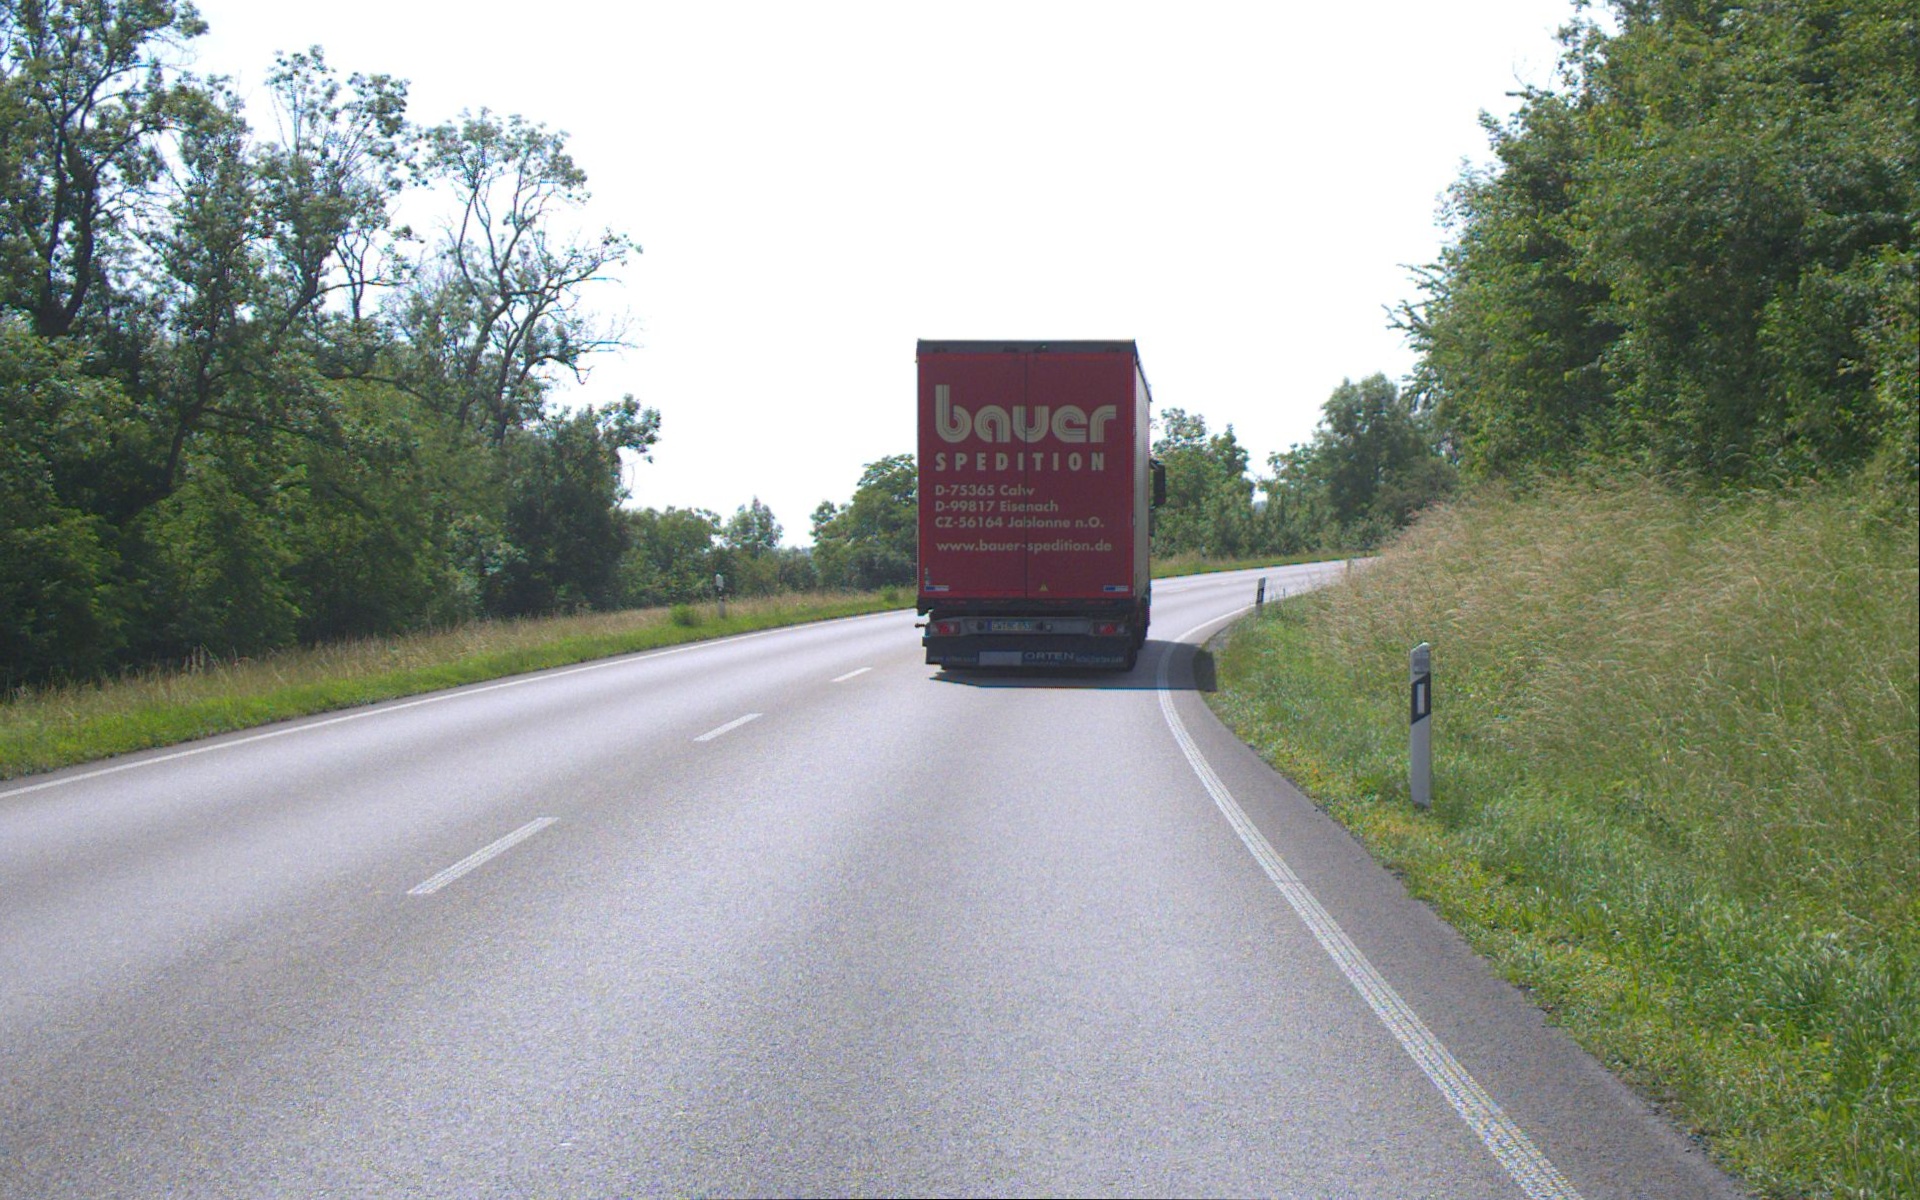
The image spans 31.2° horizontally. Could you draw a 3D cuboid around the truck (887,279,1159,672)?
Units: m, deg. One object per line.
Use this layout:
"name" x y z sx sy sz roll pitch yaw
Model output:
"truck" 1.036 -1.509 45.419 3.112 4.490 12.167 0 1 3
